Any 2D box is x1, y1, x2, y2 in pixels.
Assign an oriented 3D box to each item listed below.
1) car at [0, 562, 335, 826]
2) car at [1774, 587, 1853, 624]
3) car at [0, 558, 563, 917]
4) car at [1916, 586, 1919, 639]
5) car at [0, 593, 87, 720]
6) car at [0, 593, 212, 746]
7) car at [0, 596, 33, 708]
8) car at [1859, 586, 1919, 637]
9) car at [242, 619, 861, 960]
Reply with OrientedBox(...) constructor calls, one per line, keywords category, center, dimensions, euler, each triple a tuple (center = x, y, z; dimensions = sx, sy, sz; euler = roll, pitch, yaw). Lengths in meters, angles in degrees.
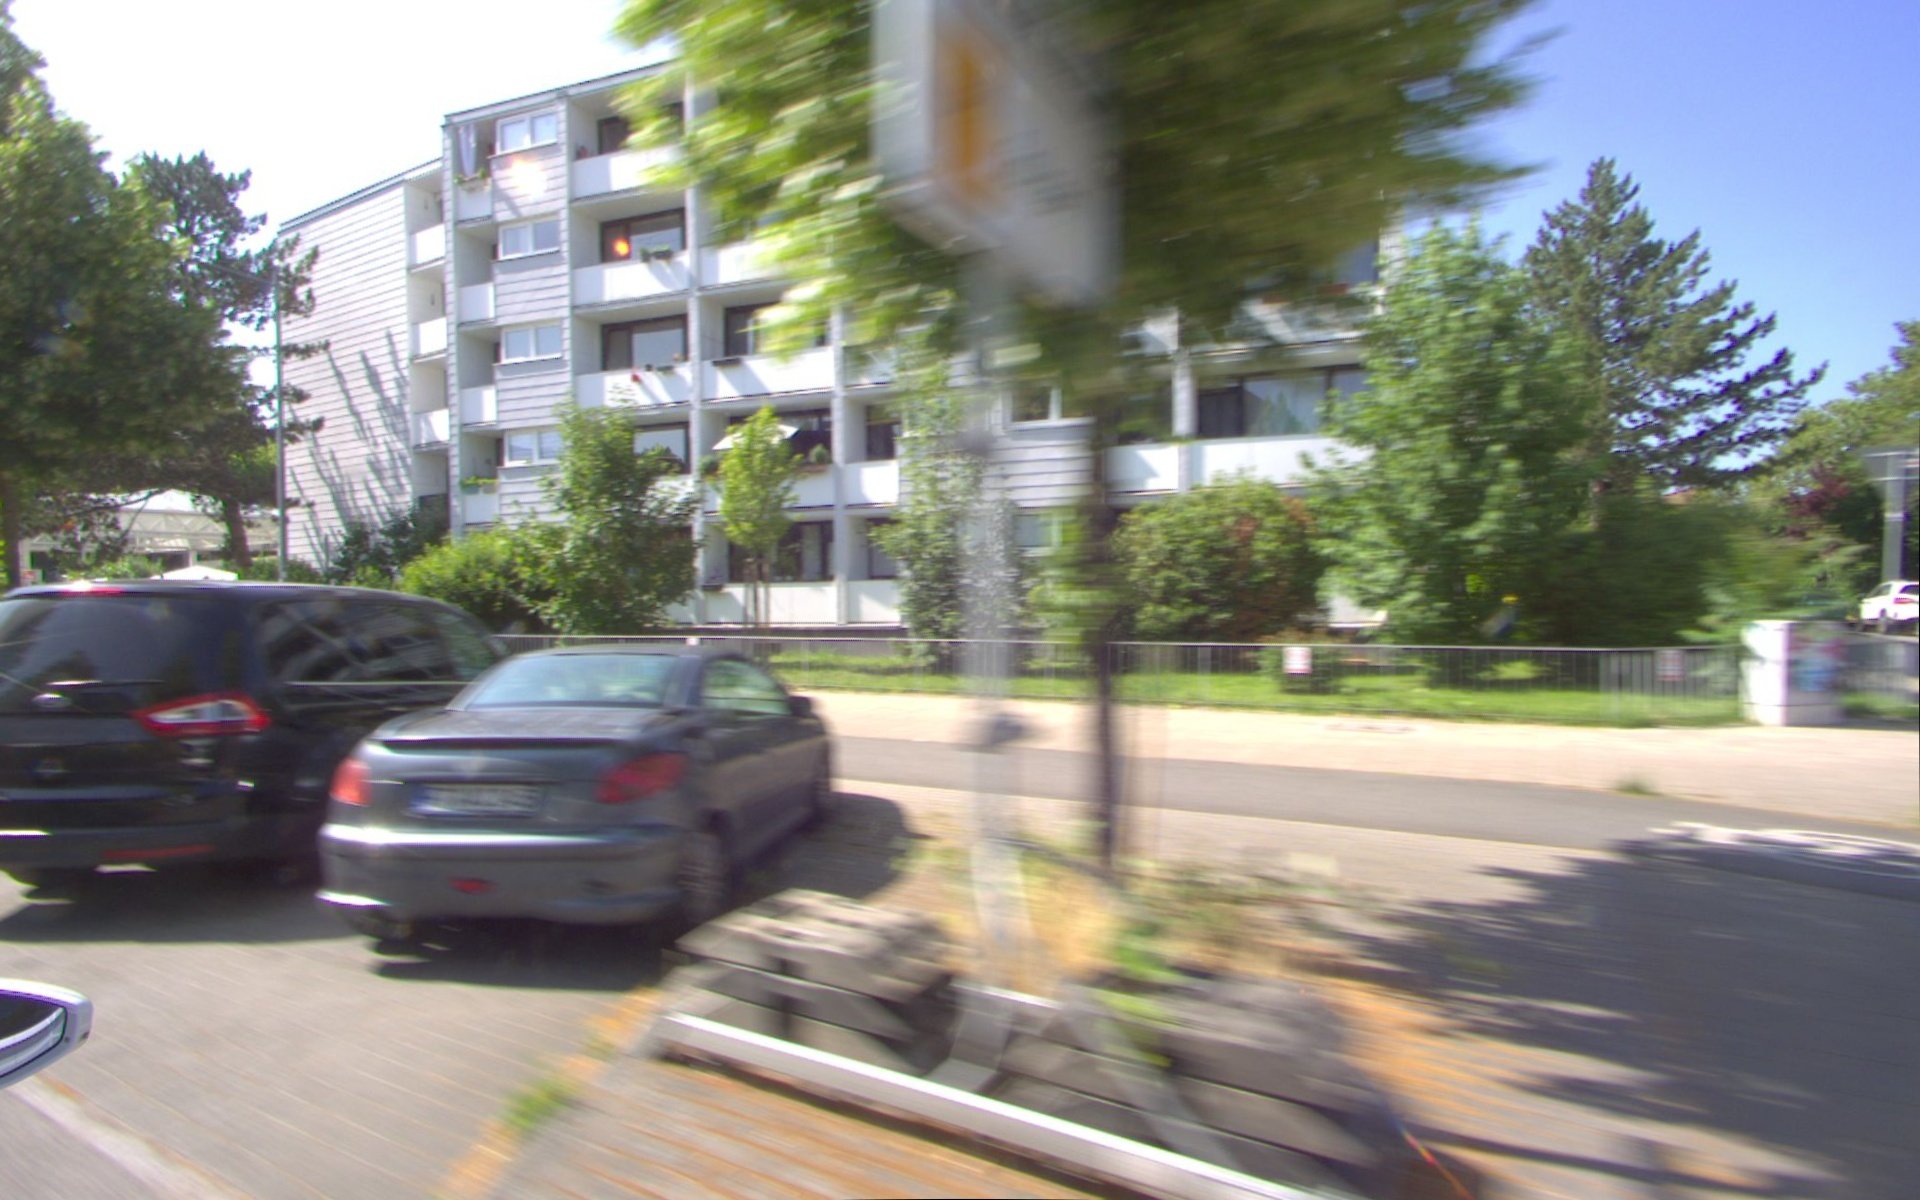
OrientedBox(category="car", center=(-7.111, 0.625, 8.178), dimensions=(1.844, 1.661, 3.998), euler=(-1, 0, -7))
OrientedBox(category="car", center=(36.975, 0.195, 43.476), dimensions=(1.888, 1.525, 3.980), euler=(1, 1, 30))
OrientedBox(category="car", center=(-4.436, 0.648, 6.715), dimensions=(2.004, 1.661, 4.119), euler=(-1, 0, -2))
OrientedBox(category="car", center=(27.762, 0.374, 27.040), dimensions=(1.888, 1.525, 3.980), euler=(1, 1, 30))
OrientedBox(category="car", center=(-13.605, 0.742, 12.422), dimensions=(1.719, 1.662, 3.998), euler=(0, 0, 9))
OrientedBox(category="car", center=(-11.213, 0.764, 11.513), dimensions=(1.767, 1.661, 3.996), euler=(0, 0, 12))
OrientedBox(category="car", center=(-15.622, 0.784, 13.681), dimensions=(1.722, 1.662, 3.992), euler=(0, 0, 19))
OrientedBox(category="car", center=(30.498, 0.330, 31.943), dimensions=(1.888, 1.577, 3.980), euler=(1, 1, 30))
OrientedBox(category="car", center=(-1.834, 0.777, 5.941), dimensions=(1.719, 1.253, 3.999), euler=(0, 0, 6))
